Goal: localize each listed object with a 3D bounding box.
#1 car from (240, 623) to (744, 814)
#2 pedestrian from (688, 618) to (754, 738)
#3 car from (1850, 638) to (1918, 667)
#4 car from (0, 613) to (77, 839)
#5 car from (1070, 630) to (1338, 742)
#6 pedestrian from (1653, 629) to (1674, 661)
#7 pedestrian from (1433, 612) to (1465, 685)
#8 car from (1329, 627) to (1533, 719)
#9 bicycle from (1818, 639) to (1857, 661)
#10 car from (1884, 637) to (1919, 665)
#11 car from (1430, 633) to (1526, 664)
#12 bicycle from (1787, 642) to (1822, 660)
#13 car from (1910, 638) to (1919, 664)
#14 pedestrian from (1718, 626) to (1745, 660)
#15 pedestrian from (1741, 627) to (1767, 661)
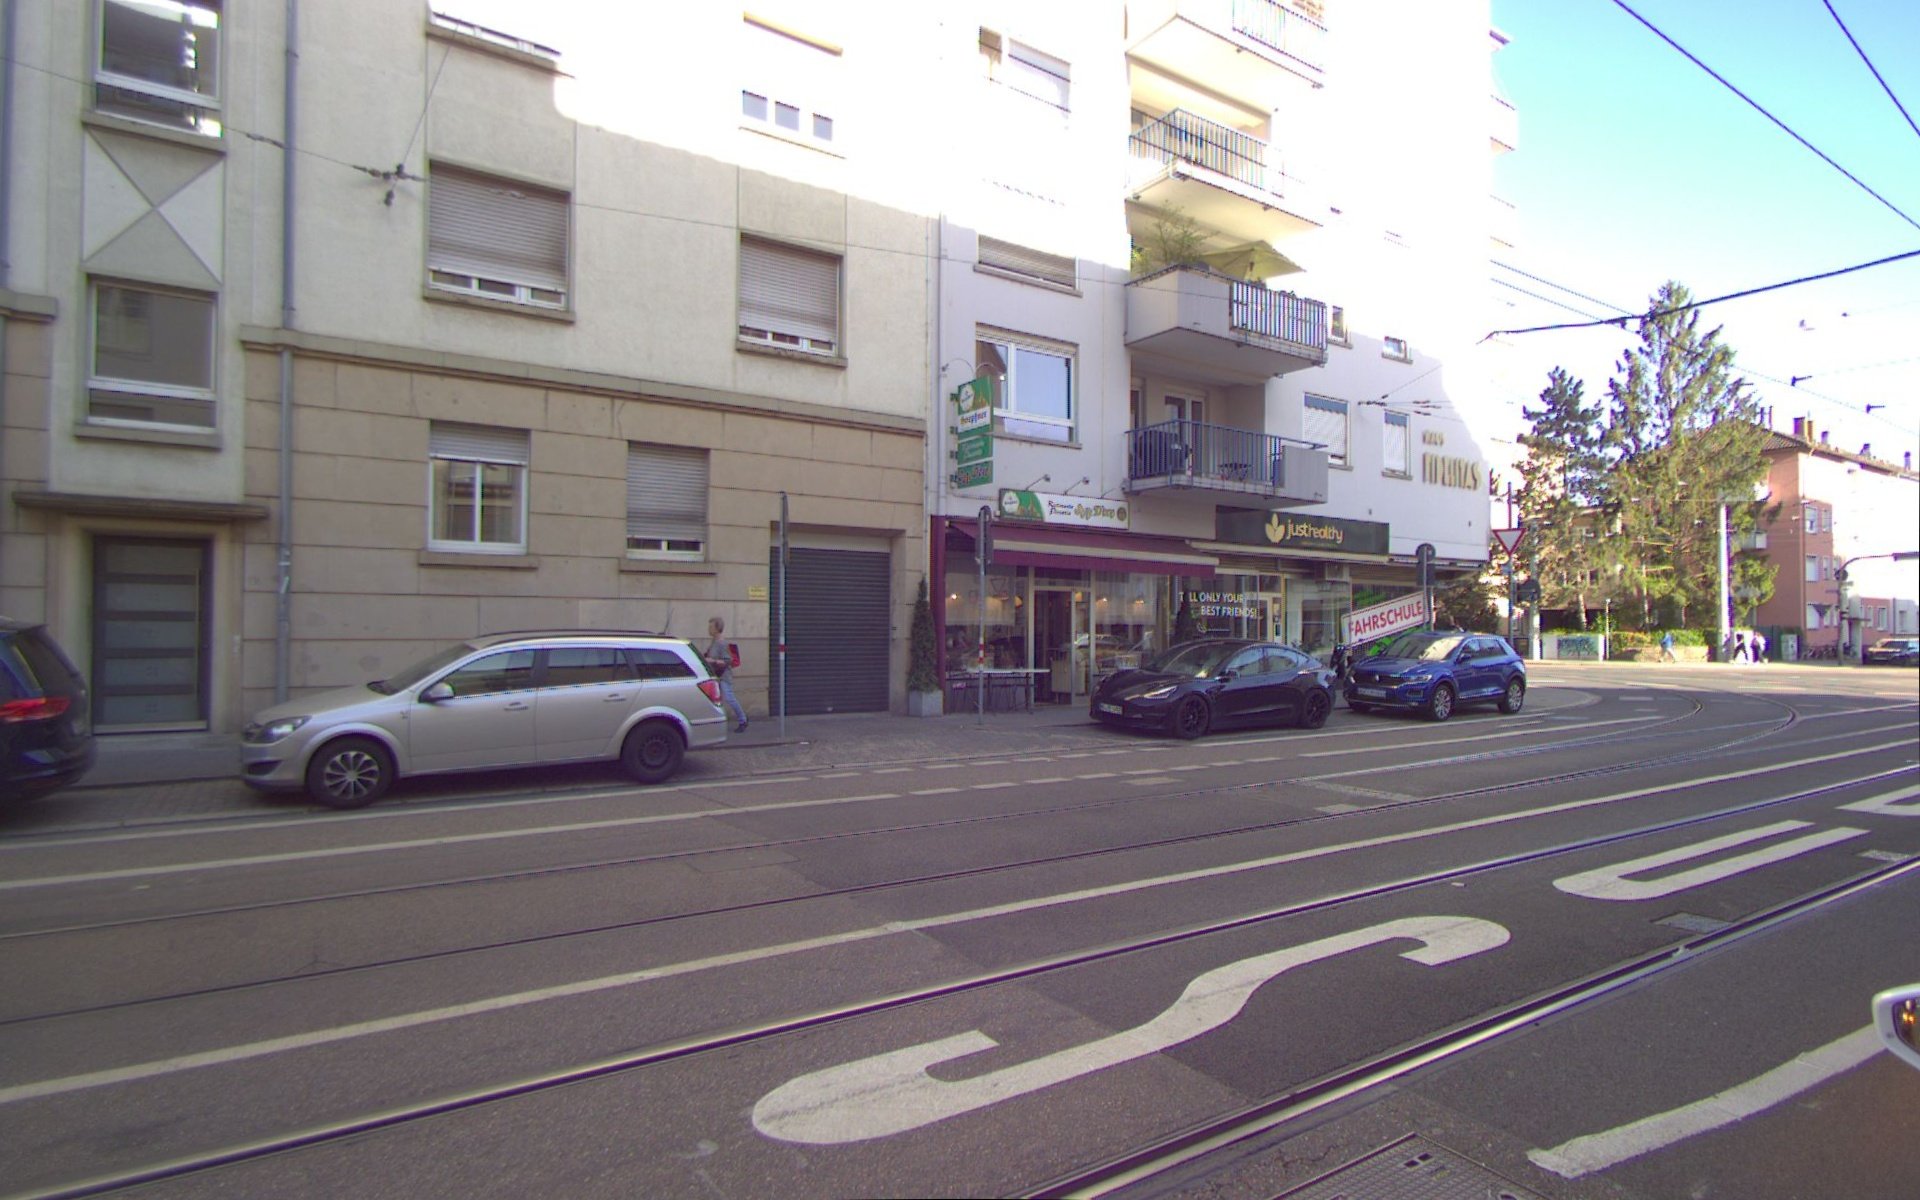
[{"bbox_3d":[-4.576,1.063,10.208,4.340,1.529,1.689,2,-1,-34],"label":"car"},{"bbox_3d":[-3.256,1.029,13.639,0.713,1.569,0.694,0,-1,-30],"label":"pedestrian"},{"bbox_3d":[49.510,2.783,53.810,3.961,1.452,1.898,1,-2,-36],"label":"car"},{"bbox_3d":[-9.127,0.890,7.043,4.202,1.637,1.688,2,-1,-36],"label":"car"},{"bbox_3d":[3.951,1.300,16.039,4.266,1.529,1.689,2,-1,-33],"label":"car"},{"bbox_3d":[36.791,2.330,52.522,0.835,1.647,0.515,-1,-2,27],"label":"pedestrian"},{"bbox_3d":[13.962,1.376,28.678,0.480,2.040,0.683,1,-1,-30],"label":"pedestrian"},{"bbox_3d":[8.983,1.323,19.070,3.959,1.529,1.733,2,-1,-35],"label":"car"},{"bbox_3d":[51.791,2.924,59.266,3.267,1.241,0.844,1,-2,-32],"label":"bicycle"},{"bbox_3d":[54.247,2.850,56.936,3.959,1.517,1.899,1,-2,-34],"label":"car"},{"bbox_3d":[28.280,2.628,54.925,1.843,1.594,4.345,2,-2,-43],"label":"car"},{"bbox_3d":[46.839,2.797,55.706,2.568,0.964,0.729,1,-2,-32],"label":"bicycle"},{"bbox_3d":[58.076,2.995,59.448,3.959,1.517,1.899,1,-2,-34],"label":"car"},{"bbox_3d":[40.024,2.222,52.116,0.728,1.713,0.841,1,-1,-27],"label":"pedestrian"},{"bbox_3d":[40.506,2.256,51.246,0.728,1.713,0.841,1,-1,-27],"label":"pedestrian"}]
